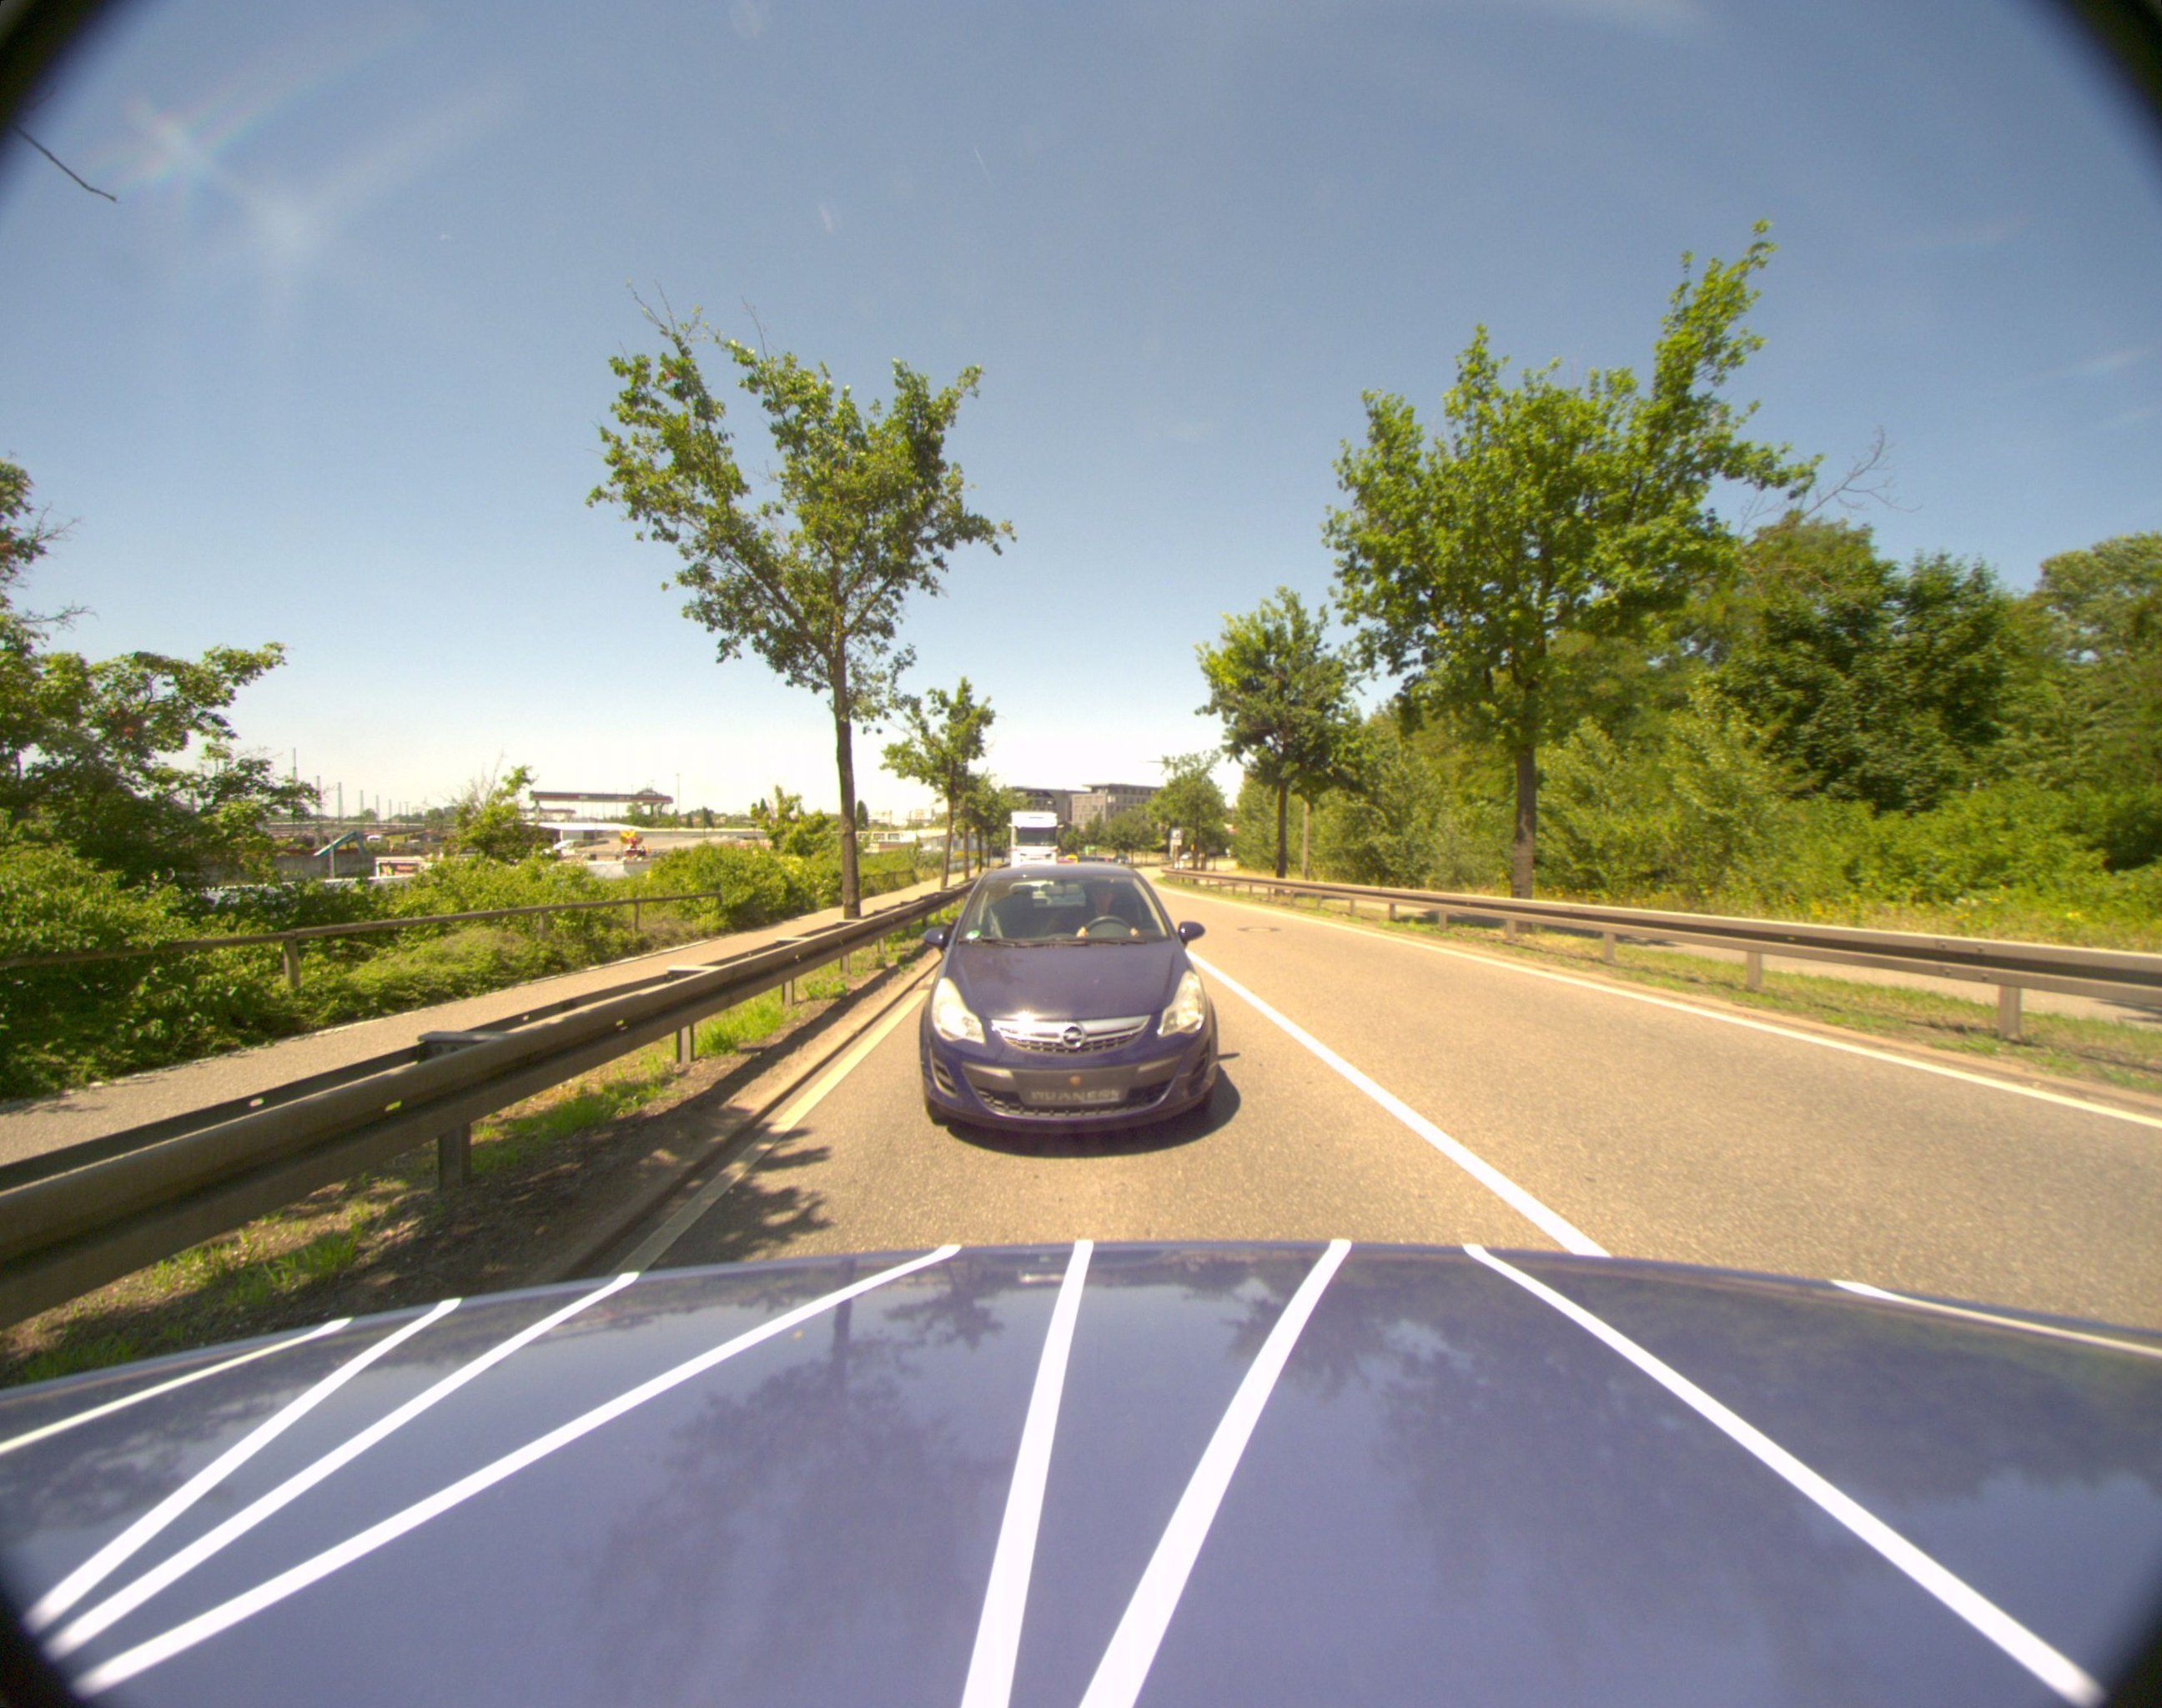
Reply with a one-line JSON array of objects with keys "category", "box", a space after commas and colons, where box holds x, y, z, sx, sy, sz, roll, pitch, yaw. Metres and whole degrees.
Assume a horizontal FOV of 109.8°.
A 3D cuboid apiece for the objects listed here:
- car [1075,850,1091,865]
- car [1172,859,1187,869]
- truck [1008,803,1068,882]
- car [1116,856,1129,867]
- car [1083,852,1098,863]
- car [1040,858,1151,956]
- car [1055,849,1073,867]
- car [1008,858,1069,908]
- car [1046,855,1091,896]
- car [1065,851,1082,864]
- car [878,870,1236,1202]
[{"category": "car", "box": [0.318, 0.522, 110.473, 1.779, 2.002, 4.002, -2, 1, 8]}, {"category": "car", "box": [15.293, 1.529, 117.722, 1.778, 1.435, 4.003, -2, 1, 14]}, {"category": "truck", "box": [-3.098, -0.687, 48.995, 3.072, 4.146, 16.901, -2, 1, -6]}, {"category": "car", "box": [7.723, 1.406, 141.268, 1.778, 2.002, 4.003, -2, 1, 12]}, {"category": "car", "box": [1.474, 0.549, 118.702, 1.779, 1.657, 4.002, -2, 1, 8]}, {"category": "car", "box": [0.161, 0.889, 14.468, 1.780, 1.498, 3.895, -2, 1, -3]}, {"category": "car", "box": [-1.823, 0.416, 80.059, 1.780, 1.757, 3.999, -2, 1, -2]}, {"category": "car", "box": [-1.424, 0.882, 25.023, 1.781, 1.398, 3.998, -2, 1, -4]}, {"category": "car", "box": [-0.567, 0.892, 33.167, 1.780, 1.569, 3.999, -2, 1, -2]}, {"category": "car", "box": [-0.933, 0.422, 95.780, 1.742, 1.608, 4.001, -2, 1, 6]}, {"category": "car", "box": [-0.214, 0.933, 5.678, 1.720, 1.455, 3.836, -2, 1, -3]}]
